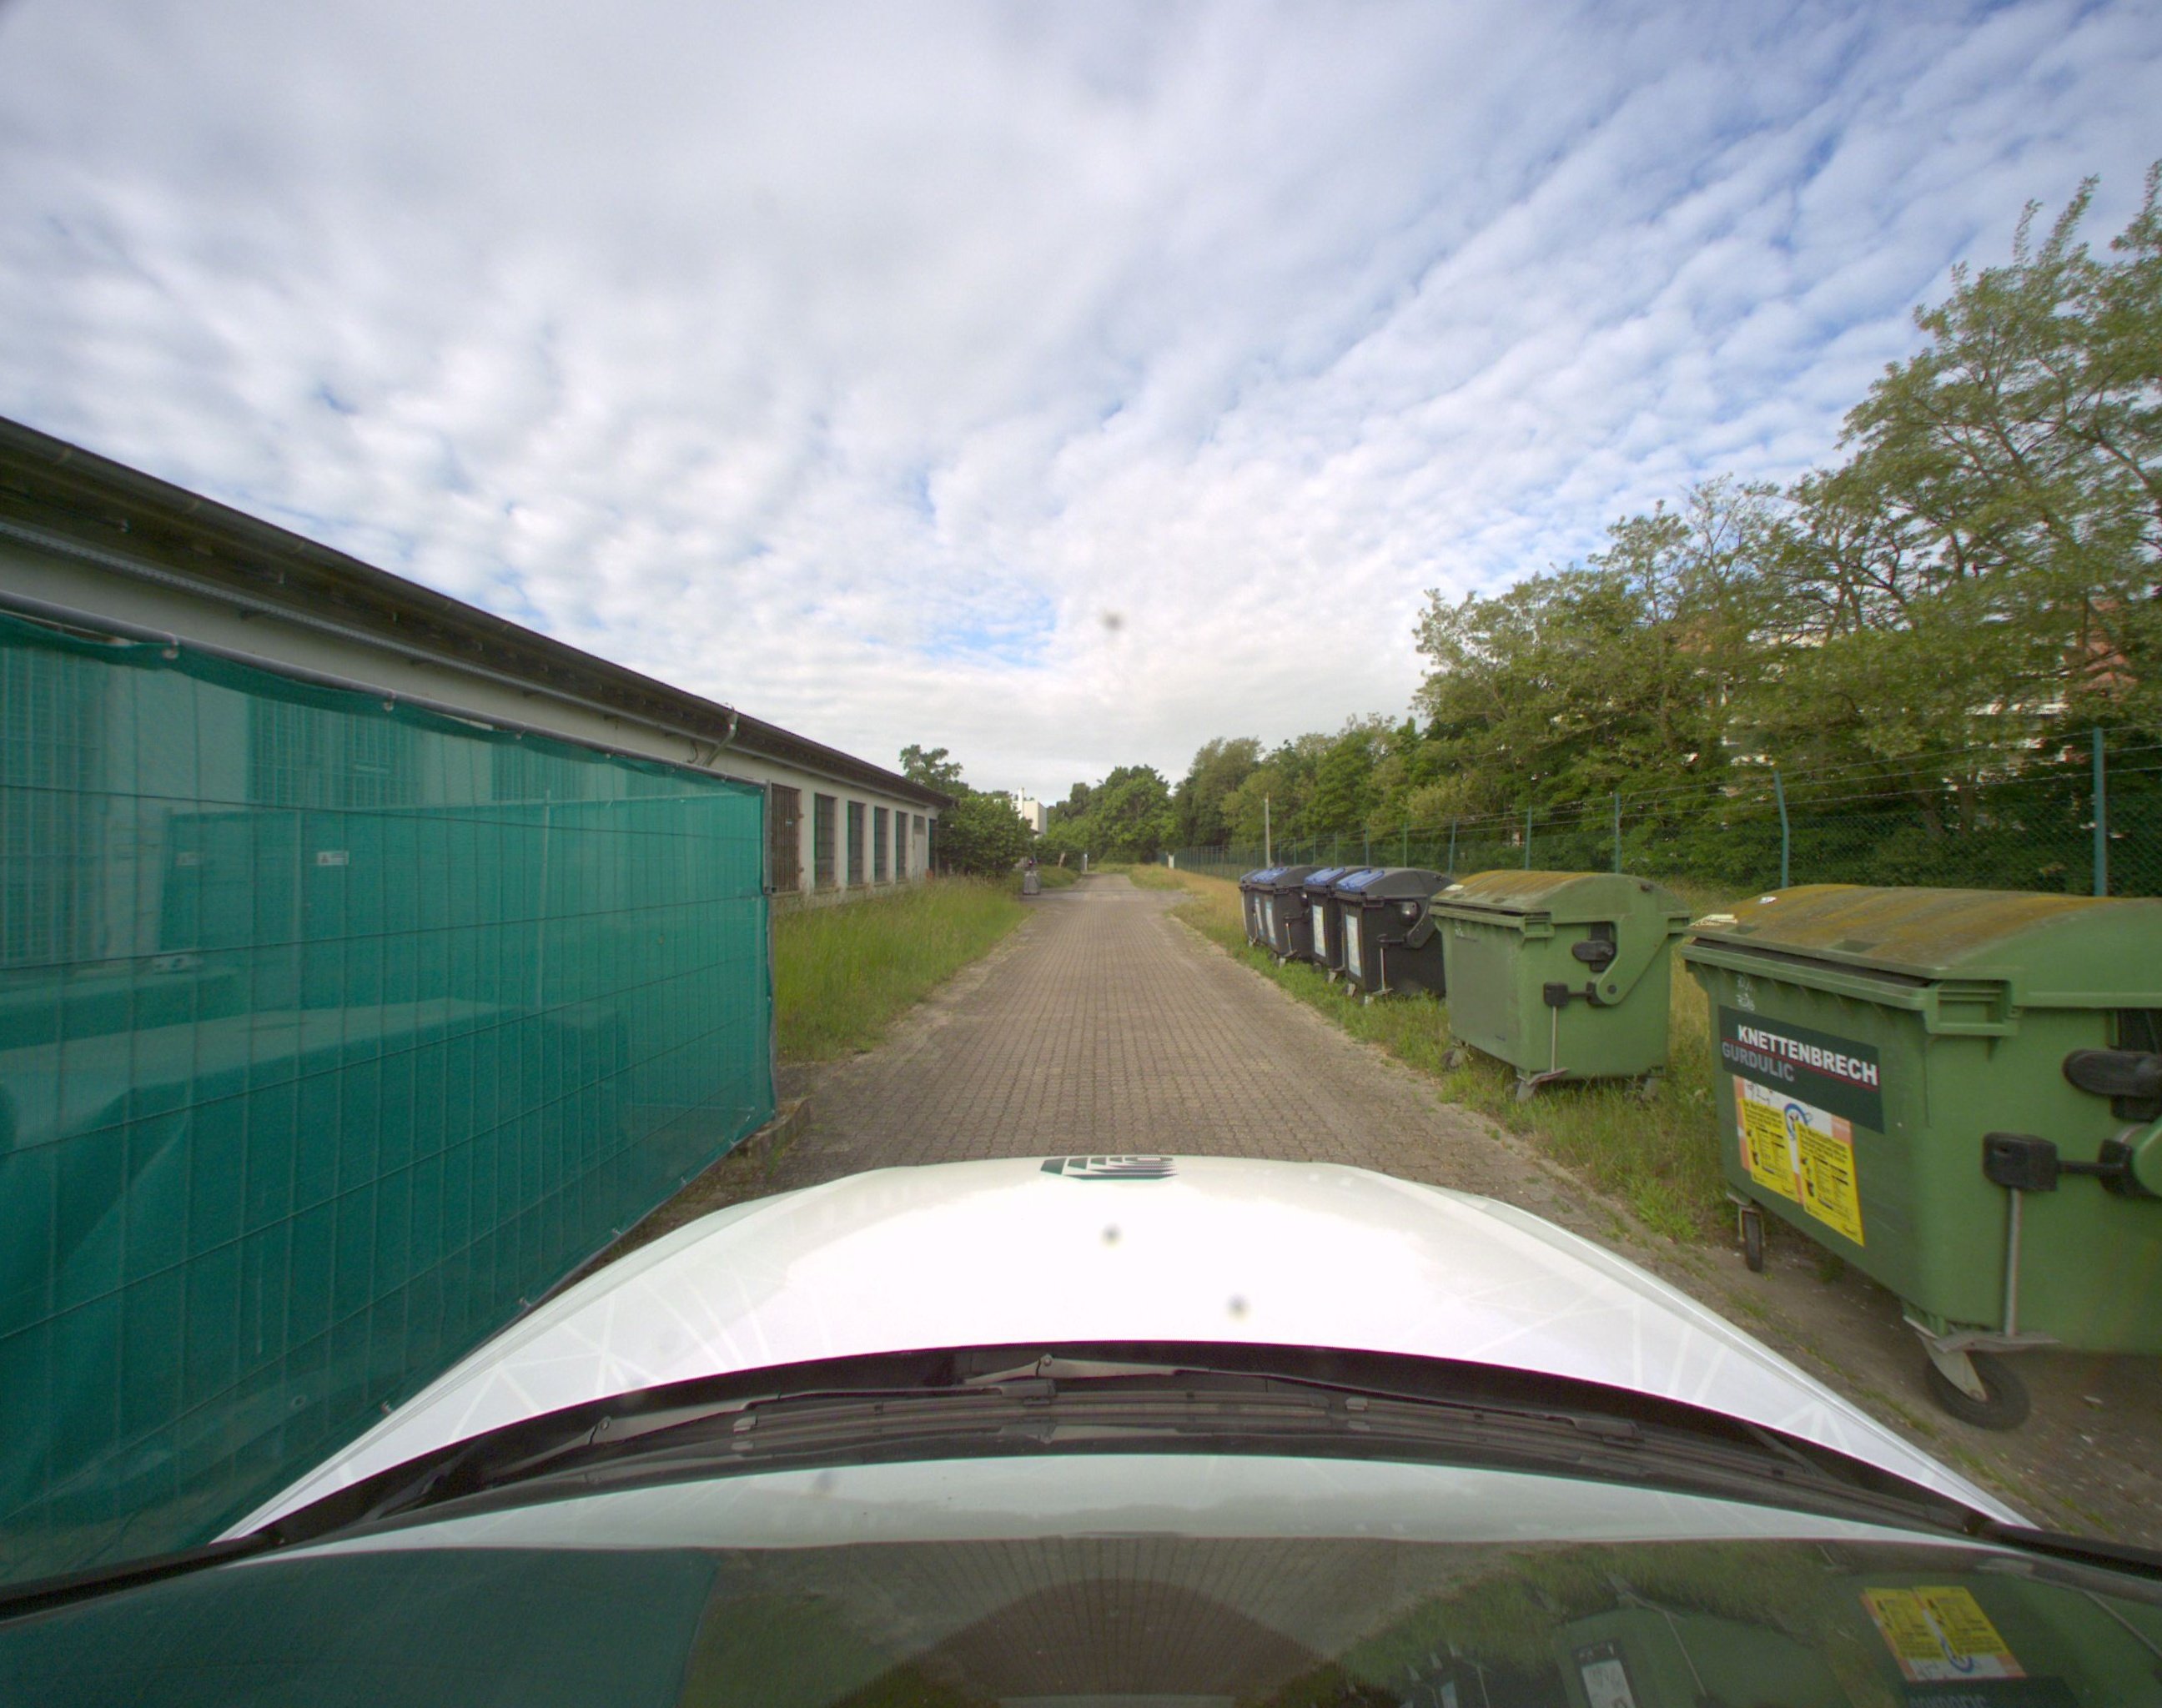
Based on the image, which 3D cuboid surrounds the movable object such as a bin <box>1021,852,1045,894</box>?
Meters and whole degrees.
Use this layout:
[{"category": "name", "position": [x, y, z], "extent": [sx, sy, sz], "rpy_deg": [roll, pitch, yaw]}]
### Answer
[{"category": "movable object such as a bin", "position": [-2.332, 0.918, 39.446], "extent": [0.929, 1.982, 0.856], "rpy_deg": [-1, -1, 10]}]

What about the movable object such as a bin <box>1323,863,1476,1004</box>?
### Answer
[{"category": "movable object such as a bin", "position": [3.248, 0.763, 8.502], "extent": [1.148, 1.325, 1.496], "rpy_deg": [0, -1, 7]}]

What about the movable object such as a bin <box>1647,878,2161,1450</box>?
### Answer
[{"category": "movable object such as a bin", "position": [2.842, 0.788, 2.706], "extent": [1.115, 1.398, 1.389], "rpy_deg": [0, -1, 12]}]

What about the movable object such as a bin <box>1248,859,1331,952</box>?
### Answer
[{"category": "movable object such as a bin", "position": [3.268, 0.785, 12.891], "extent": [1.117, 1.379, 1.327], "rpy_deg": [0, -1, 7]}]

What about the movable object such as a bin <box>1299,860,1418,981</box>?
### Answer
[{"category": "movable object such as a bin", "position": [3.375, 0.767, 10.082], "extent": [1.117, 1.374, 1.496], "rpy_deg": [0, -1, 7]}]

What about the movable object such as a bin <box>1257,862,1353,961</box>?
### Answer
[{"category": "movable object such as a bin", "position": [3.147, 0.782, 11.591], "extent": [1.117, 1.321, 1.328], "rpy_deg": [-1, -1, 7]}]

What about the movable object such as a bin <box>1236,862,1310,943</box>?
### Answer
[{"category": "movable object such as a bin", "position": [3.321, 0.816, 14.267], "extent": [1.117, 1.350, 1.428], "rpy_deg": [0, -1, 7]}]

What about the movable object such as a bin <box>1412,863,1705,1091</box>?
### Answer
[{"category": "movable object such as a bin", "position": [3.010, 0.714, 5.348], "extent": [1.119, 1.296, 1.380], "rpy_deg": [0, -1, 1]}]

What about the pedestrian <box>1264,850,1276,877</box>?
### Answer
[{"category": "pedestrian", "position": [14.597, 0.725, 62.976], "extent": [0.757, 2.014, 0.664], "rpy_deg": [-1, -1, 0]}]

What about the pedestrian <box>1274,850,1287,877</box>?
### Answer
[{"category": "pedestrian", "position": [15.368, 0.741, 62.727], "extent": [0.757, 2.014, 0.664], "rpy_deg": [-1, -1, 0]}]
